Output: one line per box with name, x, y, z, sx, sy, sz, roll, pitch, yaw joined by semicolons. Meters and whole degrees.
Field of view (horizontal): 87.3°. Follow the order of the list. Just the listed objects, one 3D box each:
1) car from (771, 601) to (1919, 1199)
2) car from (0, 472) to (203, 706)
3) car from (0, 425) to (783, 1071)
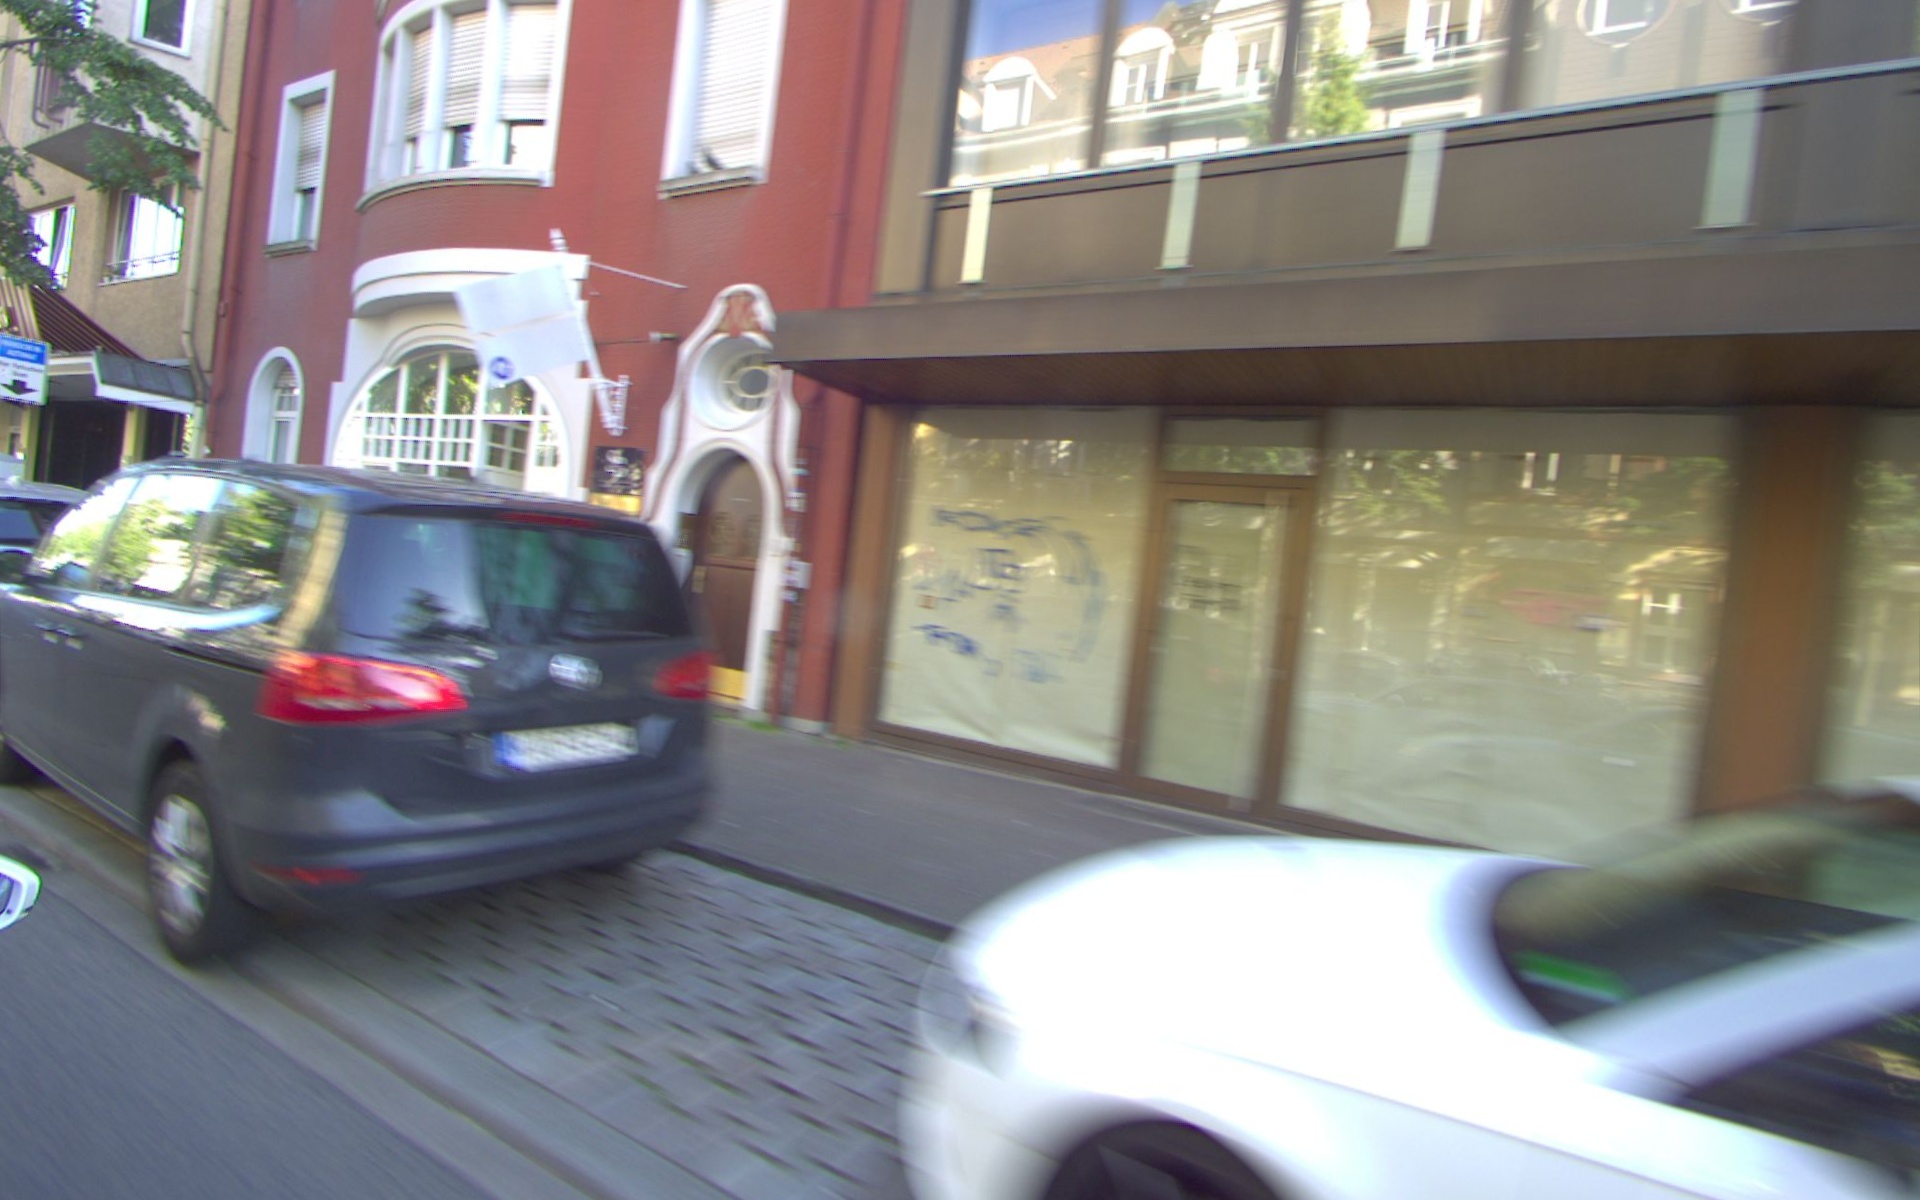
car;2.107;0.985;1.742;4.762;1.421;1.822;7;2;32
car;-8.486;-0.306;8.410;4.761;1.617;1.822;7;2;32
car;-3.304;0.215;4.927;4.853;1.801;1.821;7;2;36
